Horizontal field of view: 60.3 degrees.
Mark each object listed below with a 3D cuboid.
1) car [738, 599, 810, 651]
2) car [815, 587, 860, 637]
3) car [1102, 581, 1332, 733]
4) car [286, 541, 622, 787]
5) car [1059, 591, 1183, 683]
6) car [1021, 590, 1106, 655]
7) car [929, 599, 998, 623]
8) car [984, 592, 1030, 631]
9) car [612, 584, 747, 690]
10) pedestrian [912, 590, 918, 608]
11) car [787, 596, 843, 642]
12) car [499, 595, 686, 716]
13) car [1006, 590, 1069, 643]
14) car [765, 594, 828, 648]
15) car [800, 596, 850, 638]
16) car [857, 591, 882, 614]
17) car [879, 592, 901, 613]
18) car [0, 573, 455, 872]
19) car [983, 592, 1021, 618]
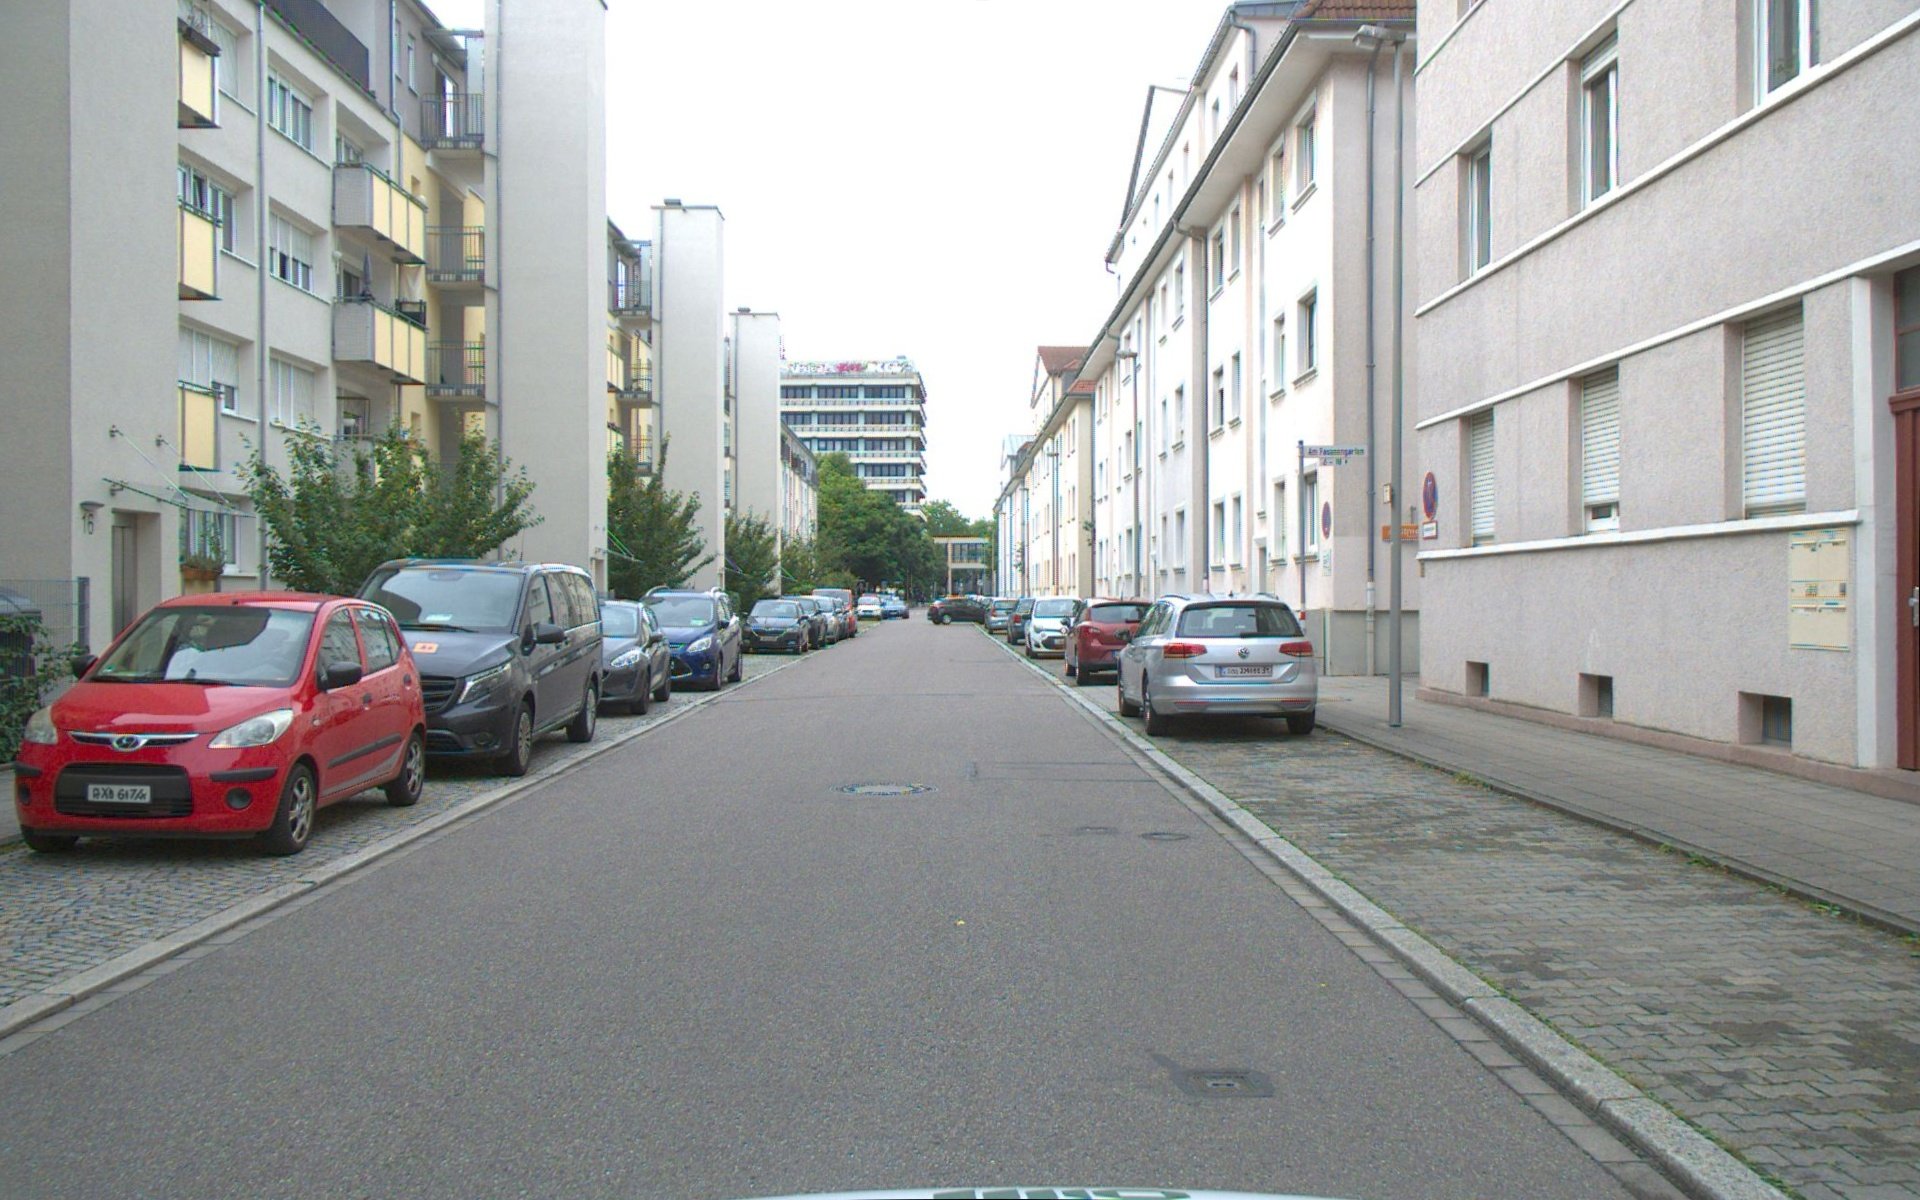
[{"bbox_3d":[-5.162,0.673,46.263,1.637,1.375,3.816,1,0,-1],"label":"car"},{"bbox_3d":[-5.038,0.465,68.397,1.637,1.972,3.741,1,0,-1],"label":"car"},{"bbox_3d":[2.753,0.554,18.715,1.720,1.493,4.599,1,0,-2],"label":"car"},{"bbox_3d":[-4.645,0.510,16.028,1.841,1.937,5.028,2,0,-3],"label":"car"},{"bbox_3d":[2.750,0.587,28.993,1.636,1.445,3.999,-2,0,-2],"label":"car"},{"bbox_3d":[2.513,0.523,40.902,1.782,1.531,3.752,1,0,-1],"label":"car"},{"bbox_3d":[0.186,0.578,89.333,3.652,1.235,1.544,1,0,0],"label":"car"},{"bbox_3d":[1.966,0.469,69.870,1.782,1.604,3.883,1,0,-1],"label":"car"},{"bbox_3d":[-4.756,0.585,28.572,1.734,1.672,4.353,1,0,-3],"label":"car"},{"bbox_3d":[-5.303,-0.147,193.518,0.617,2.049,0.683,2,0,-2],"label":"pedestrian"},{"bbox_3d":[-5.067,0.640,58.138,1.637,1.552,4.252,1,0,-1],"label":"car"},{"bbox_3d":[-4.972,0.692,22.949,1.794,1.484,4.258,1,0,-3],"label":"car"},{"bbox_3d":[2.442,0.507,53.007,1.782,1.604,3.752,1,0,-1],"label":"car"},{"bbox_3d":[-5.105,0.632,52.017,1.637,1.591,3.663,1,0,-1],"label":"car"},{"bbox_3d":[-5.133,0.632,63.289,1.637,1.513,3.741,1,0,-1],"label":"car"},{"bbox_3d":[-5.960,0.166,109.220,1.507,1.476,3.741,1,0,-1],"label":"car"},{"bbox_3d":[-5.063,0.194,119.884,1.508,1.476,3.739,0,0,-3],"label":"car"},{"bbox_3d":[-4.675,0.669,11.013,1.532,1.596,3.641,3,0,-2],"label":"car"},{"bbox_3d":[2.456,0.293,97.559,1.953,1.422,3.999,2,0,-1],"label":"car"}]
